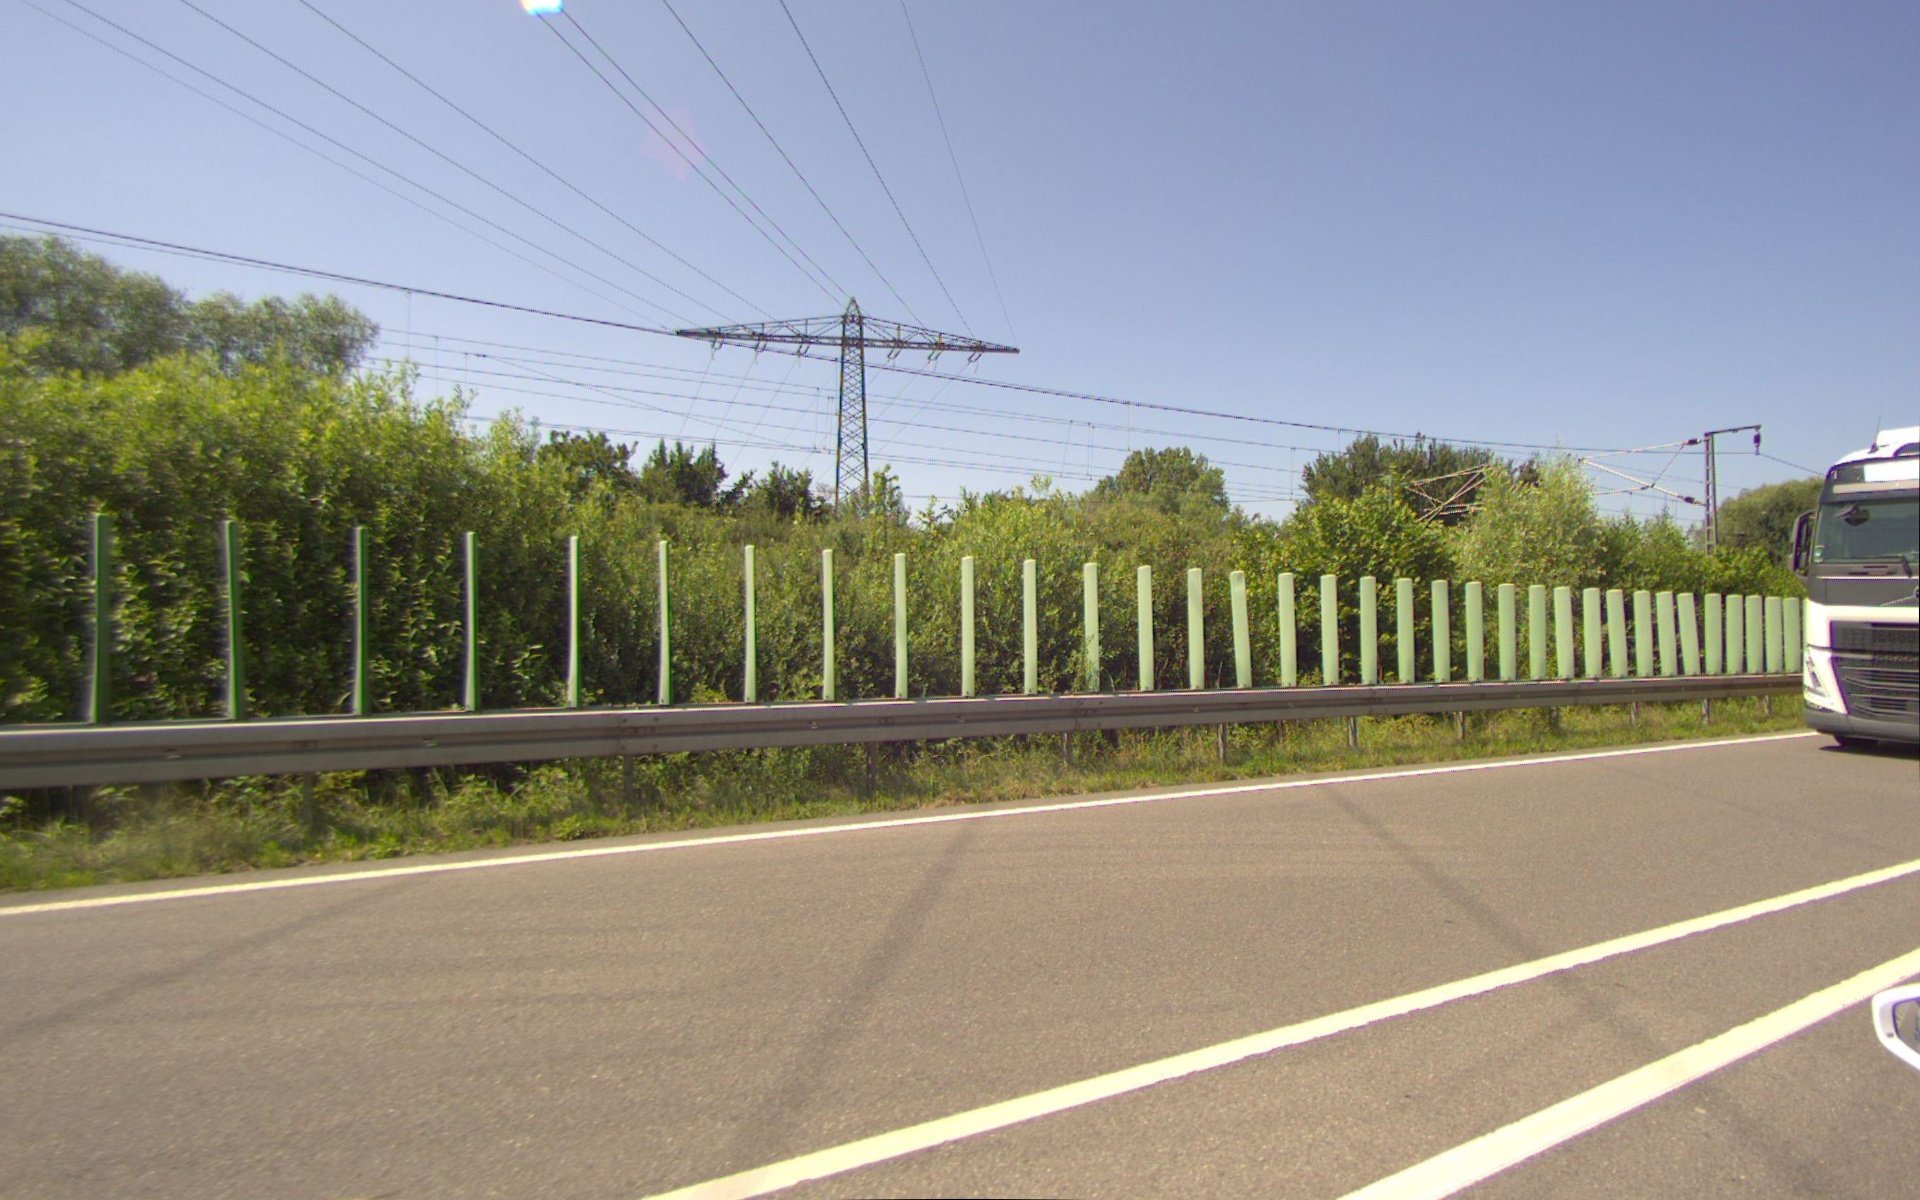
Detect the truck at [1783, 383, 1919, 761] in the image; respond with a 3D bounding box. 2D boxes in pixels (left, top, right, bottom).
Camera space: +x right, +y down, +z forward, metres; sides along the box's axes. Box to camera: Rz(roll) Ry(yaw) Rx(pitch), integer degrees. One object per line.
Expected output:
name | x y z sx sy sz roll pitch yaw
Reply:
truck | 15.169 -0.203 13.710 10.478 4.183 2.536 1 -1 -30
